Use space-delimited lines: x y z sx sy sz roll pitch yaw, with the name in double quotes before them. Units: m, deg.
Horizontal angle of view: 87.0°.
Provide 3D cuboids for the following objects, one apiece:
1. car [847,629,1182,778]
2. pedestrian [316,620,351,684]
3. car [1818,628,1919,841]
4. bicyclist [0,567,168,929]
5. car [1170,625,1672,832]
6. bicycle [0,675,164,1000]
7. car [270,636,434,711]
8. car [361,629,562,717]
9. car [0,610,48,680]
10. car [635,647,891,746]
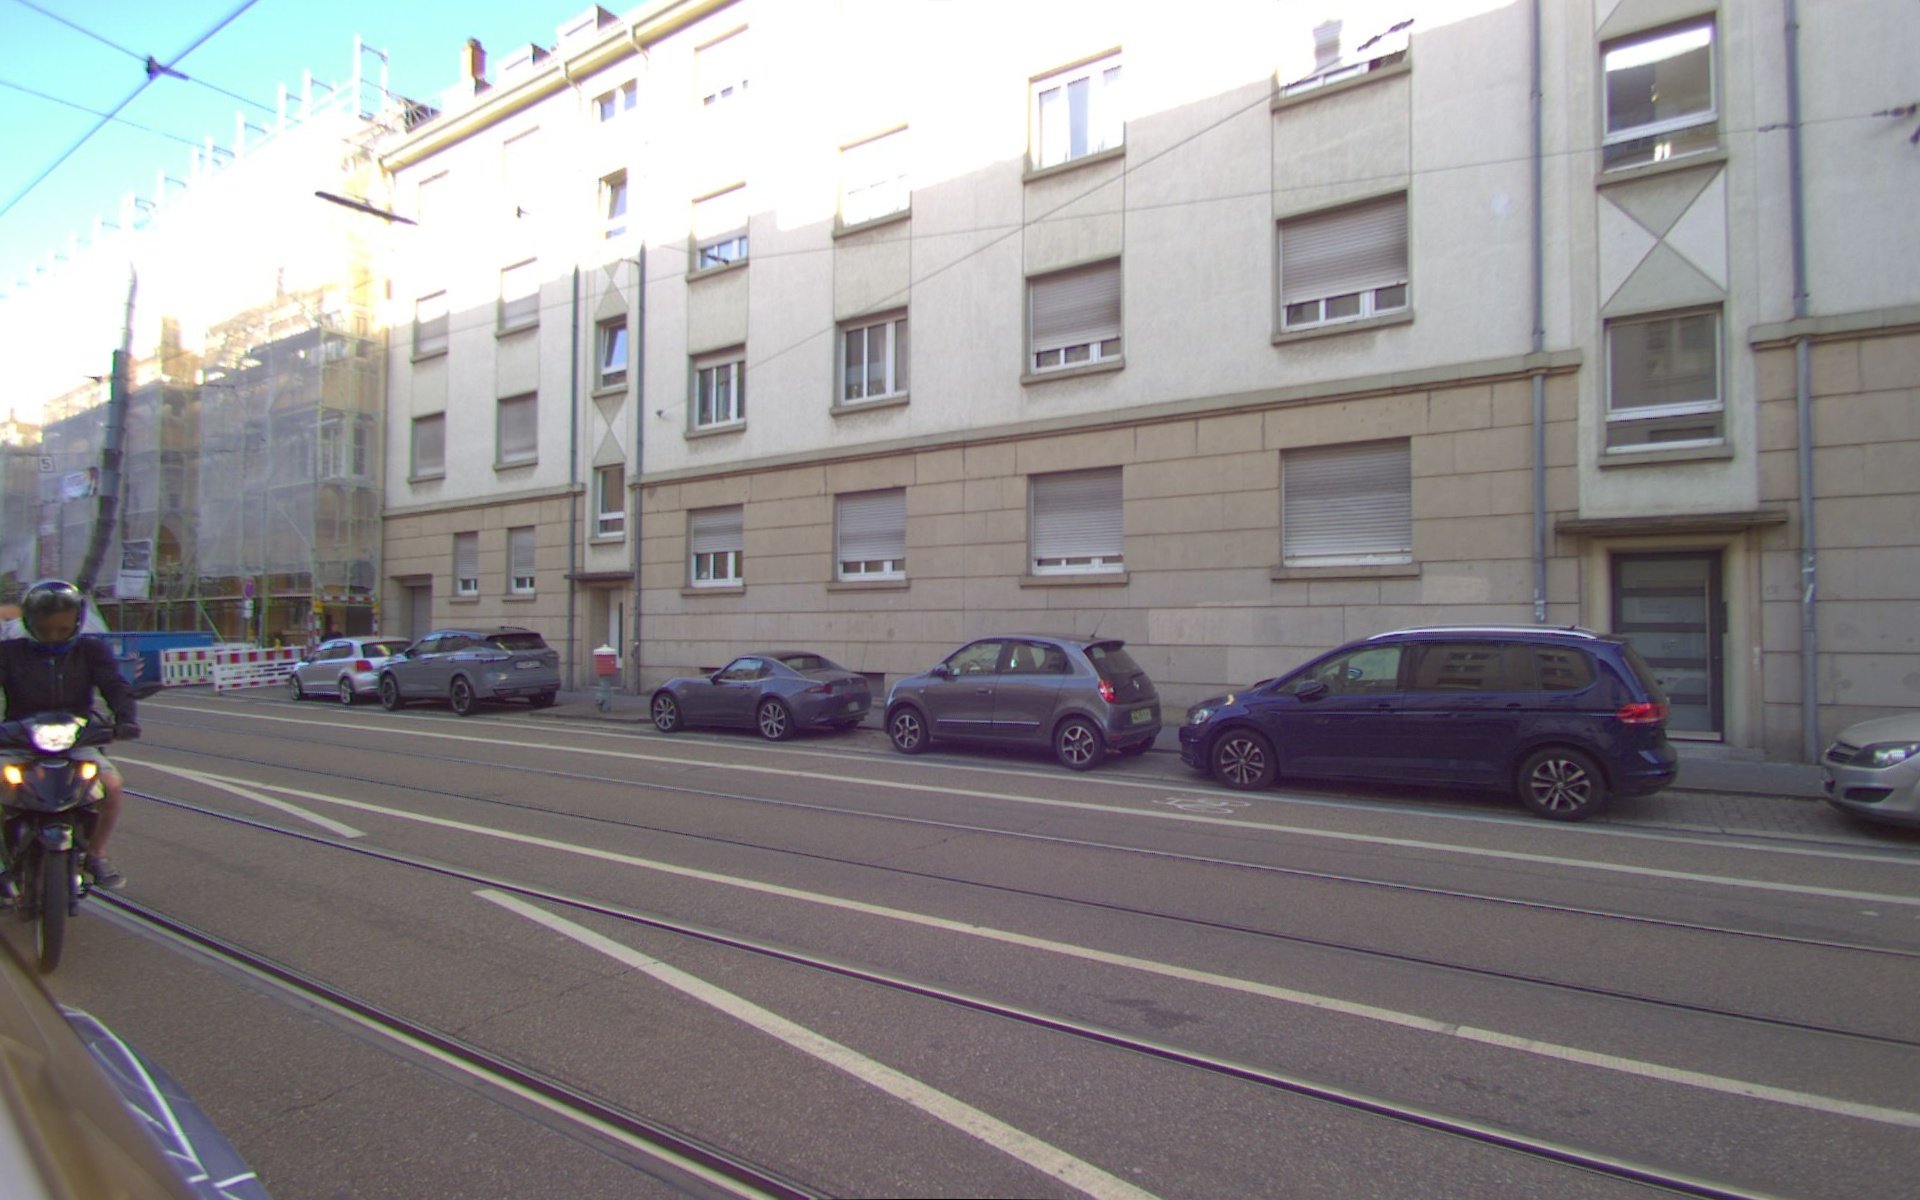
"car" 0.618 1.181 12.893 3.991 1.581 1.685 -1 -1 35
"pedestrian" -17.099 1.405 27.613 0.715 1.707 0.575 -2 -2 34
"car" 8.957 0.981 7.032 4.375 1.521 1.685 -1 -1 35
"bicyclist" -4.342 0.657 4.806 0.830 1.566 0.852 2 -3 -36
"car" 4.395 1.083 10.024 4.230 1.628 1.686 -1 -1 33
"bicycle" -4.252 0.971 4.691 0.728 1.186 1.979 2 -3 -35
"car" -13.734 1.582 22.795 3.991 1.426 1.685 -1 1 35
"car" -9.979 1.393 20.151 4.395 1.580 1.684 -2 -3 35
"car" -36.459 1.678 37.869 5.986 2.488 2.101 -2 -4 35
"car" -3.070 1.399 15.523 3.775 1.225 1.686 -1 -1 33
